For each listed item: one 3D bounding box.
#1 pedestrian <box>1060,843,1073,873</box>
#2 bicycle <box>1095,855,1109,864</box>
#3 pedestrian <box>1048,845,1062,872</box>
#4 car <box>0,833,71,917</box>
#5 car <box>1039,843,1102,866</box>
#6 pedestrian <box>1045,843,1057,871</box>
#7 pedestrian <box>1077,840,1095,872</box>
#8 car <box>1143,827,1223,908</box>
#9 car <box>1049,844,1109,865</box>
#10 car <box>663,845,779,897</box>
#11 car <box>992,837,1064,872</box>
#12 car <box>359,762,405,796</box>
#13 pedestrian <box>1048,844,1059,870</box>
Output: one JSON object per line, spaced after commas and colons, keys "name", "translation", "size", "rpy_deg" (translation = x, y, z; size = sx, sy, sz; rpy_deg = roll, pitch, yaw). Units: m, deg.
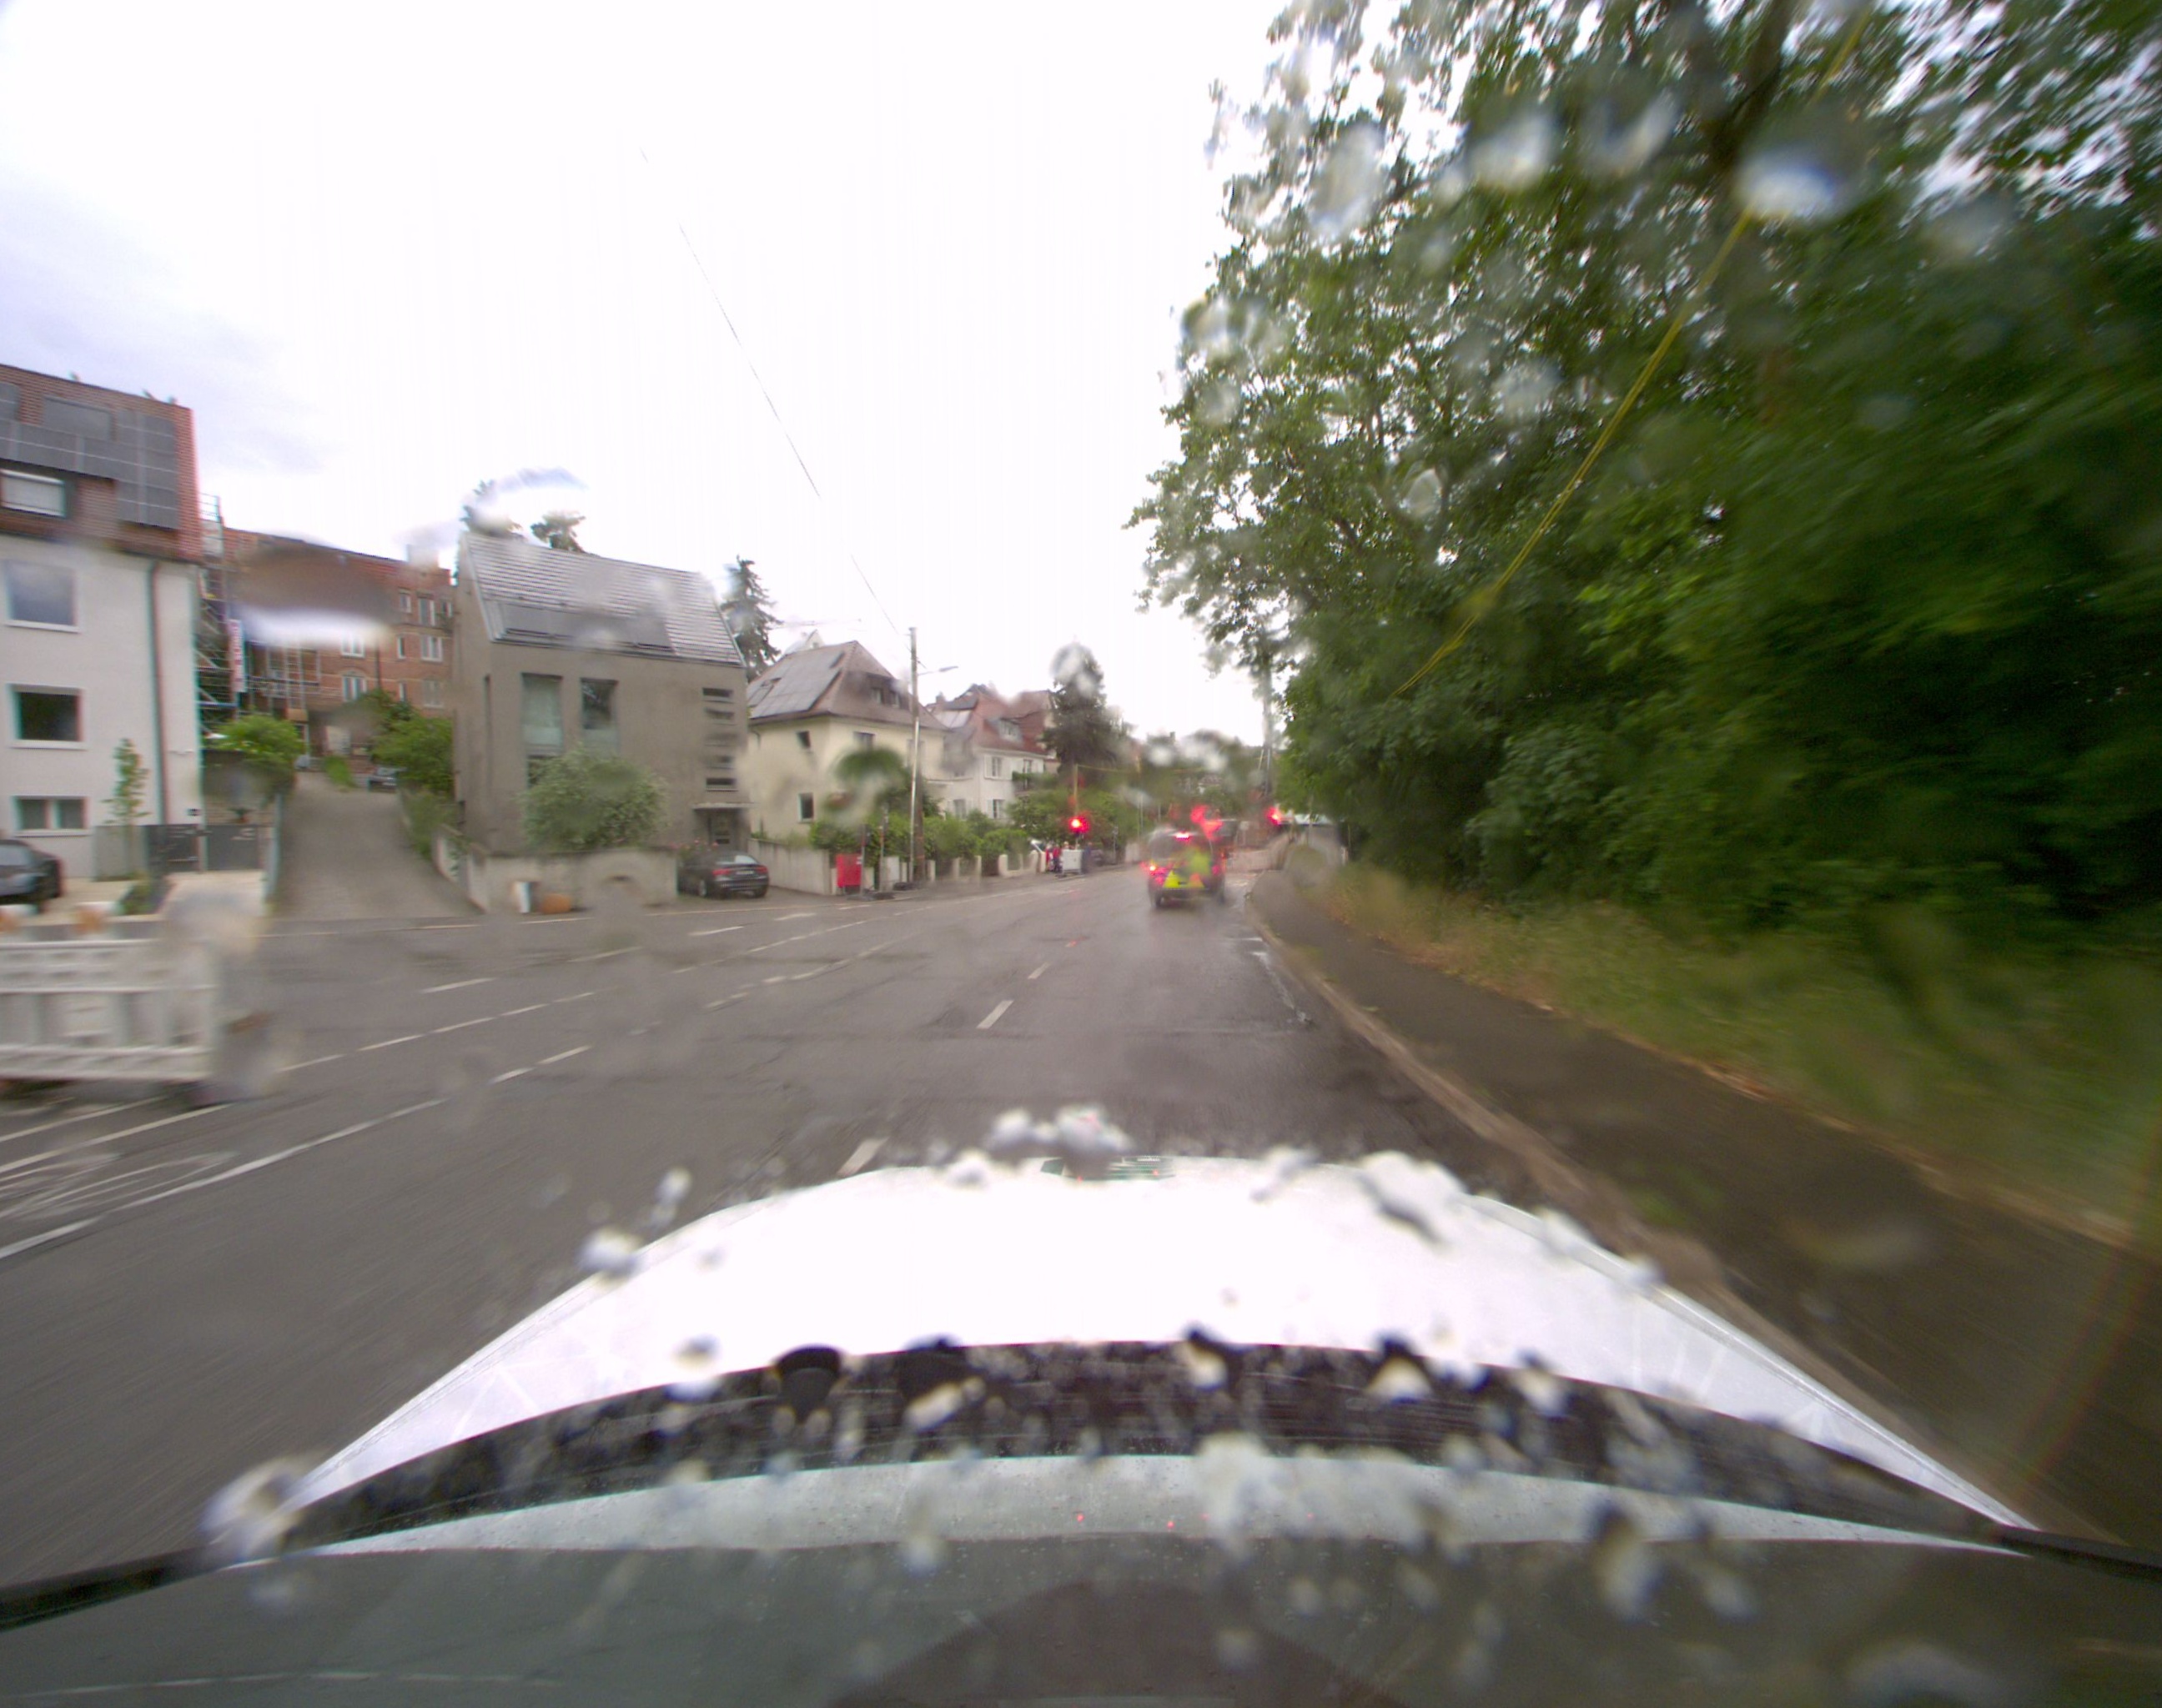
{"name": "pedestrian", "translation": [-0.833, 0.251, 47.982], "size": [0.622, 1.715, 0.595], "rpy_deg": [1, -2, 12]}
{"name": "bicycle", "translation": [1.588, 0.417, 61.599], "size": [1.044, 0.662, 0.322], "rpy_deg": [0, -2, 20]}
{"name": "pedestrian", "translation": [-1.483, 0.274, 46.901], "size": [0.622, 1.522, 0.595], "rpy_deg": [1, -2, 12]}
{"name": "car", "translation": [-20.868, 0.372, 15.539], "size": [3.770, 1.508, 1.745], "rpy_deg": [0, 1, 43]}
{"name": "car", "translation": [-0.719, 0.026, 56.786], "size": [3.953, 1.486, 1.769], "rpy_deg": [0, -2, 21]}
{"name": "pedestrian", "translation": [-1.677, 0.161, 46.096], "size": [0.559, 1.582, 0.470], "rpy_deg": [1, -2, 12]}
{"name": "pedestrian", "translation": [0.272, 0.133, 46.656], "size": [0.884, 1.787, 0.830], "rpy_deg": [1, -2, 9]}
{"name": "car", "translation": [2.900, 0.300, 23.064], "size": [1.982, 2.013, 4.411], "rpy_deg": [-2, 1, 7]}
{"name": "car", "translation": [-0.150, 0.036, 58.874], "size": [3.953, 1.486, 1.769], "rpy_deg": [0, -2, 21]}
{"name": "car", "translation": [-11.092, 0.455, 24.990], "size": [3.950, 1.443, 1.850], "rpy_deg": [0, 1, 43]}
{"name": "car", "translation": [-3.242, 0.033, 49.647], "size": [3.952, 2.013, 1.840], "rpy_deg": [0, 0, 22]}
{"name": "car", "translation": [-37.576, -3.998, 43.772], "size": [1.791, 1.464, 3.573], "rpy_deg": [-2, 0, -42]}
{"name": "pedestrian", "translation": [-1.577, 0.181, 47.529], "size": [0.522, 1.507, 0.430], "rpy_deg": [1, -2, 12]}
